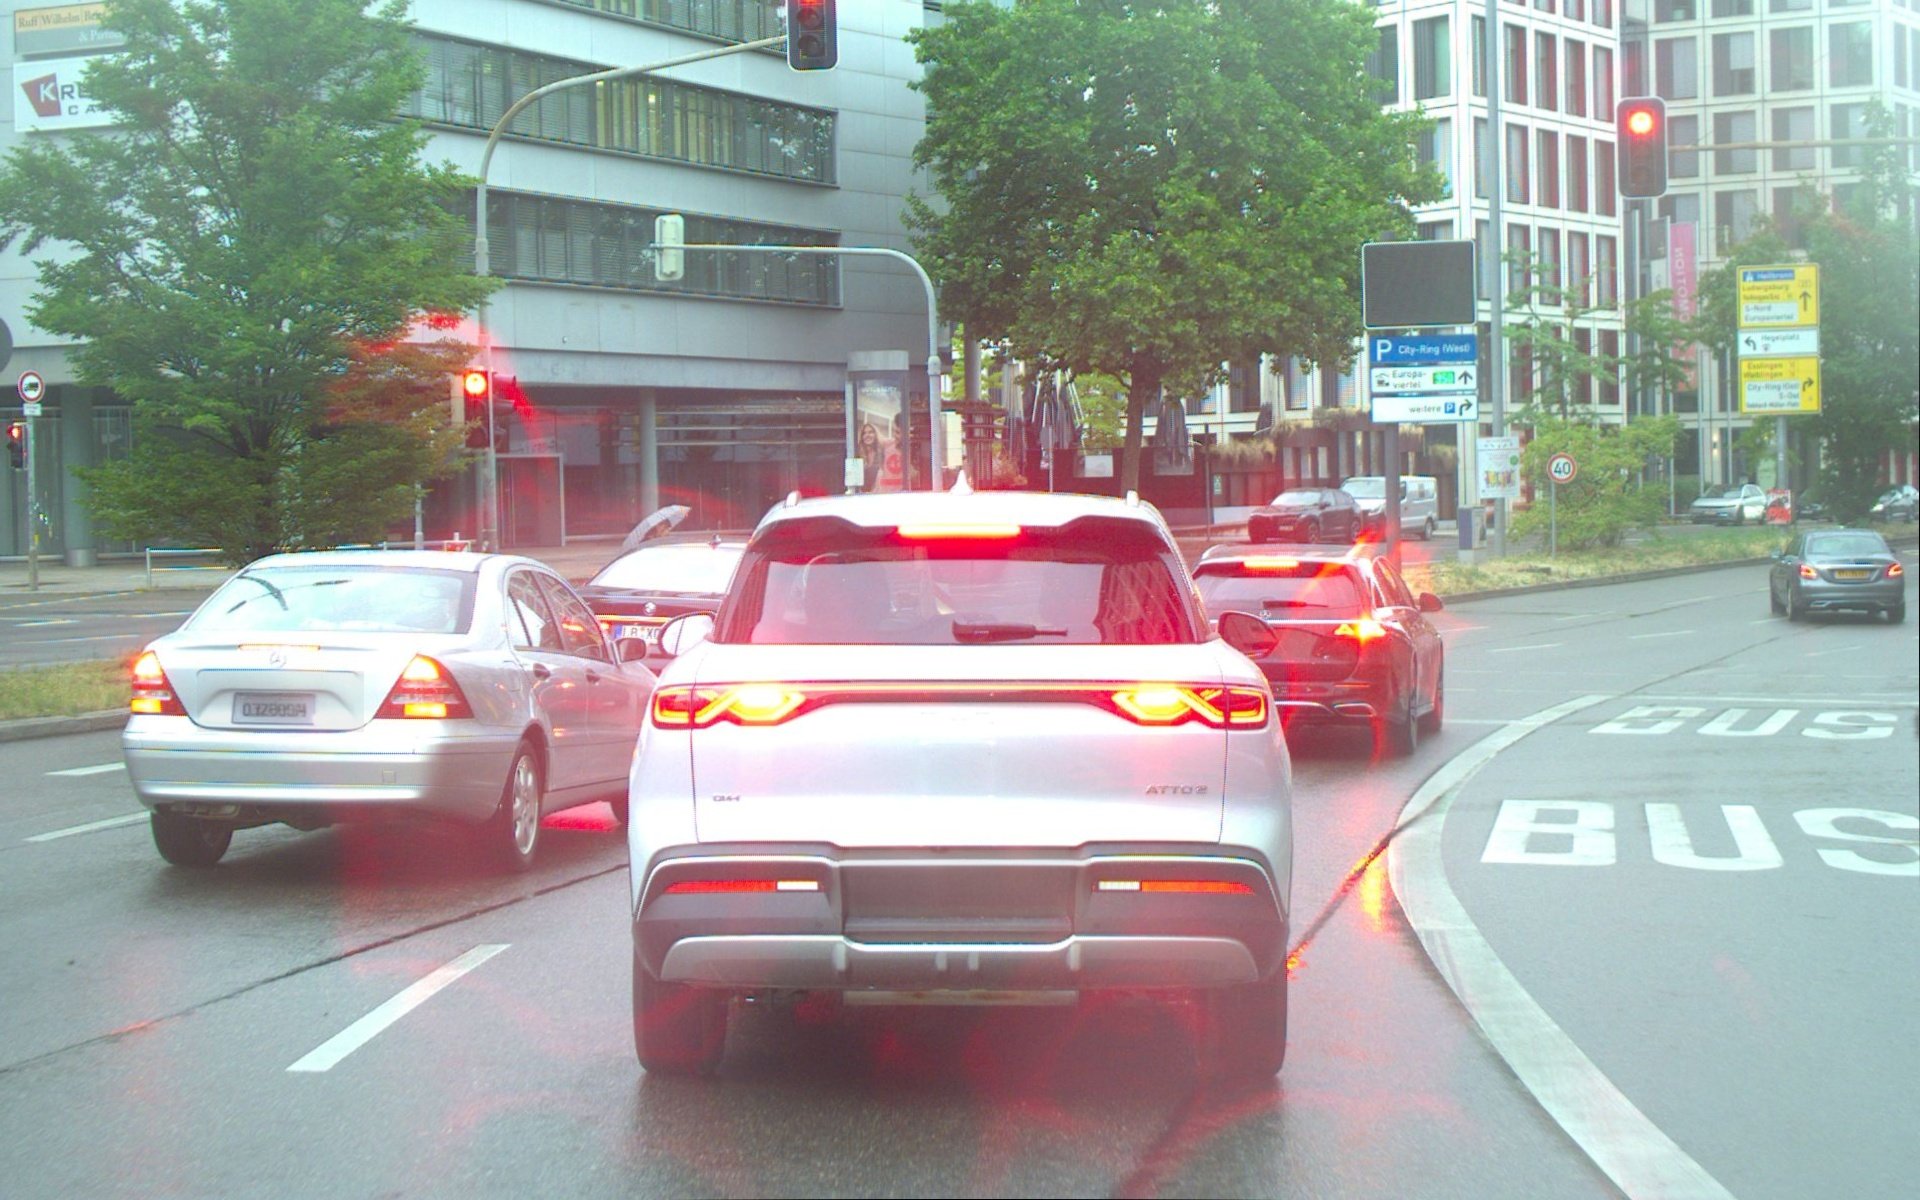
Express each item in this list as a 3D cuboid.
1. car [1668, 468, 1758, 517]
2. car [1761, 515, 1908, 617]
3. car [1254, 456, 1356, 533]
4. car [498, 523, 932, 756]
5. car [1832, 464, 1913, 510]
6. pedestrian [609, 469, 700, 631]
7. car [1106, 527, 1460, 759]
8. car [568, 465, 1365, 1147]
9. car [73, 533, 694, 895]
[{"bbox_3d":[27.885,-3.998,127.193,1.997,1.700,4.302,1,3,30],"label":"car"},{"bbox_3d":[13.968,-0.576,55.103,1.911,1.505,4.355,1,2,10],"label":"car"},{"bbox_3d":[9.977,-3.018,99.197,1.739,2.154,4.489,1,1,21],"label":"car"},{"bbox_3d":[-1.661,0.212,24.785,1.956,1.525,3.998,0,1,14],"label":"car"},{"bbox_3d":[35.809,-4.462,134.894,1.997,1.700,3.993,1,4,31],"label":"car"},{"bbox_3d":[-3.301,-0.548,37.220,0.922,1.732,0.730,0,1,-1],"label":"pedestrian"},{"bbox_3d":[2.437,0.242,25.019,1.956,1.525,3.998,0,1,14],"label":"car"},{"bbox_3d":[0.010,0.460,10.870,1.993,1.703,4.483,0,1,0],"label":"car"},{"bbox_3d":[-2.596,0.436,16.524,1.683,1.481,4.195,0,1,9],"label":"car"}]
